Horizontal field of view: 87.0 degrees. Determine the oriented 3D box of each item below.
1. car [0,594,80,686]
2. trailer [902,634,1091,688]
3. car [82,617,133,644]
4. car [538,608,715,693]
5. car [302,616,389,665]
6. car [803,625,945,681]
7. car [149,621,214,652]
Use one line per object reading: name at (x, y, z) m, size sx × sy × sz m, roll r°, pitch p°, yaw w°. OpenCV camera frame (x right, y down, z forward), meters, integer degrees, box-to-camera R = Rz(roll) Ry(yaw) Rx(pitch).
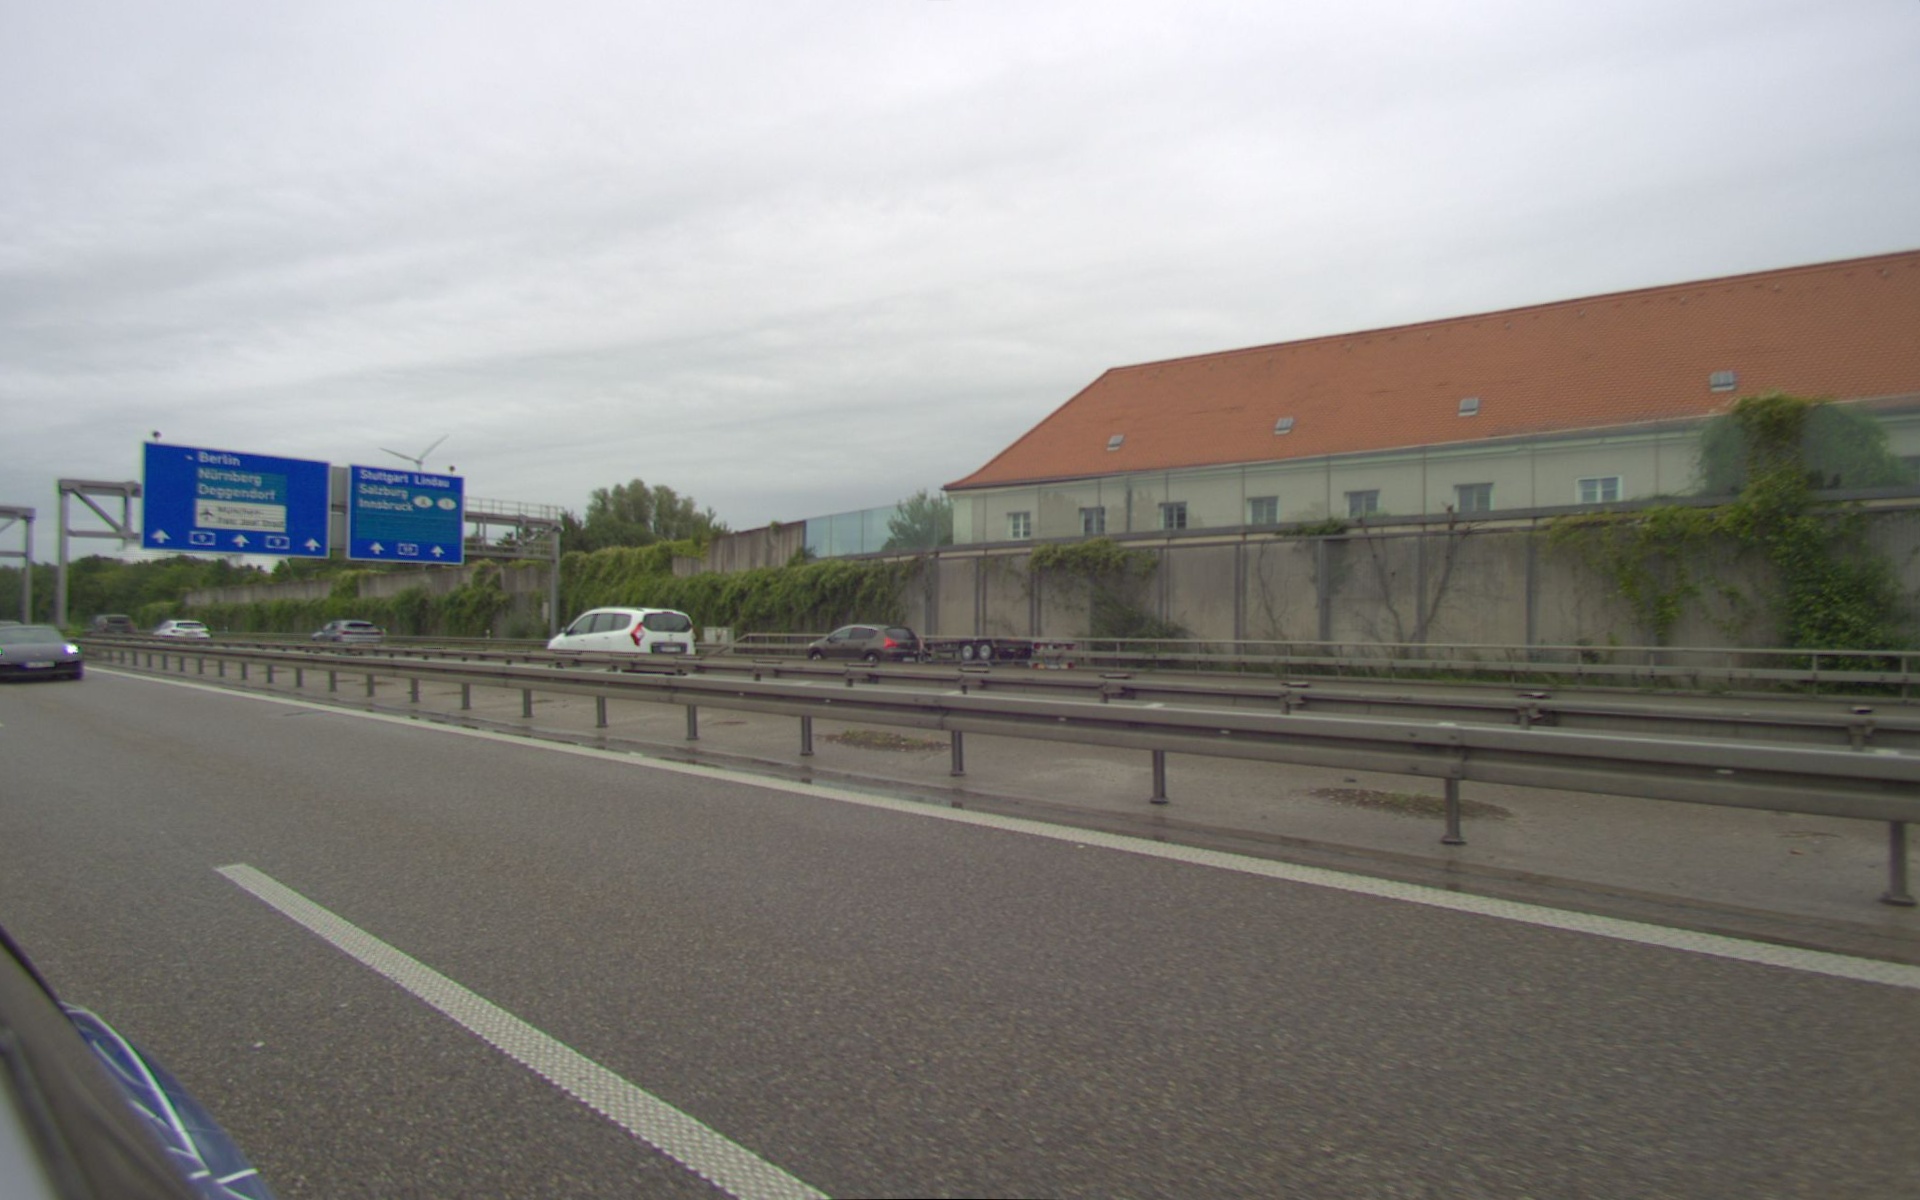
car at (-22.370, 0.911, 24.032) m, size 3.850 × 2.029 × 1.703 m, roll -1°, pitch 0°, yaw 41°
trailer at (0.938, 1.665, 28.789) m, size 5.245 × 1.277 × 2.107 m, roll -1°, pitch 0°, yaw 42°
car at (-68.284, 2.393, 81.005) m, size 6.268 × 1.987 × 2.186 m, roll -1°, pitch 0°, yaw 41°
car at (-7.775, 1.098, 23.402) m, size 4.532 × 1.764 × 1.769 m, roll -1°, pitch 0°, yaw 40°
car at (-27.435, 1.738, 45.121) m, size 4.728 × 2.029 × 1.913 m, roll -1°, pitch 0°, yaw 40°
car at (-2.778, 1.611, 32.091) m, size 4.521 × 1.564 × 1.935 m, roll -1°, pitch 0°, yaw 43°
car at (-39.543, 1.849, 51.358) m, size 4.762 × 1.417 × 1.585 m, roll -1°, pitch -5°, yaw 41°
